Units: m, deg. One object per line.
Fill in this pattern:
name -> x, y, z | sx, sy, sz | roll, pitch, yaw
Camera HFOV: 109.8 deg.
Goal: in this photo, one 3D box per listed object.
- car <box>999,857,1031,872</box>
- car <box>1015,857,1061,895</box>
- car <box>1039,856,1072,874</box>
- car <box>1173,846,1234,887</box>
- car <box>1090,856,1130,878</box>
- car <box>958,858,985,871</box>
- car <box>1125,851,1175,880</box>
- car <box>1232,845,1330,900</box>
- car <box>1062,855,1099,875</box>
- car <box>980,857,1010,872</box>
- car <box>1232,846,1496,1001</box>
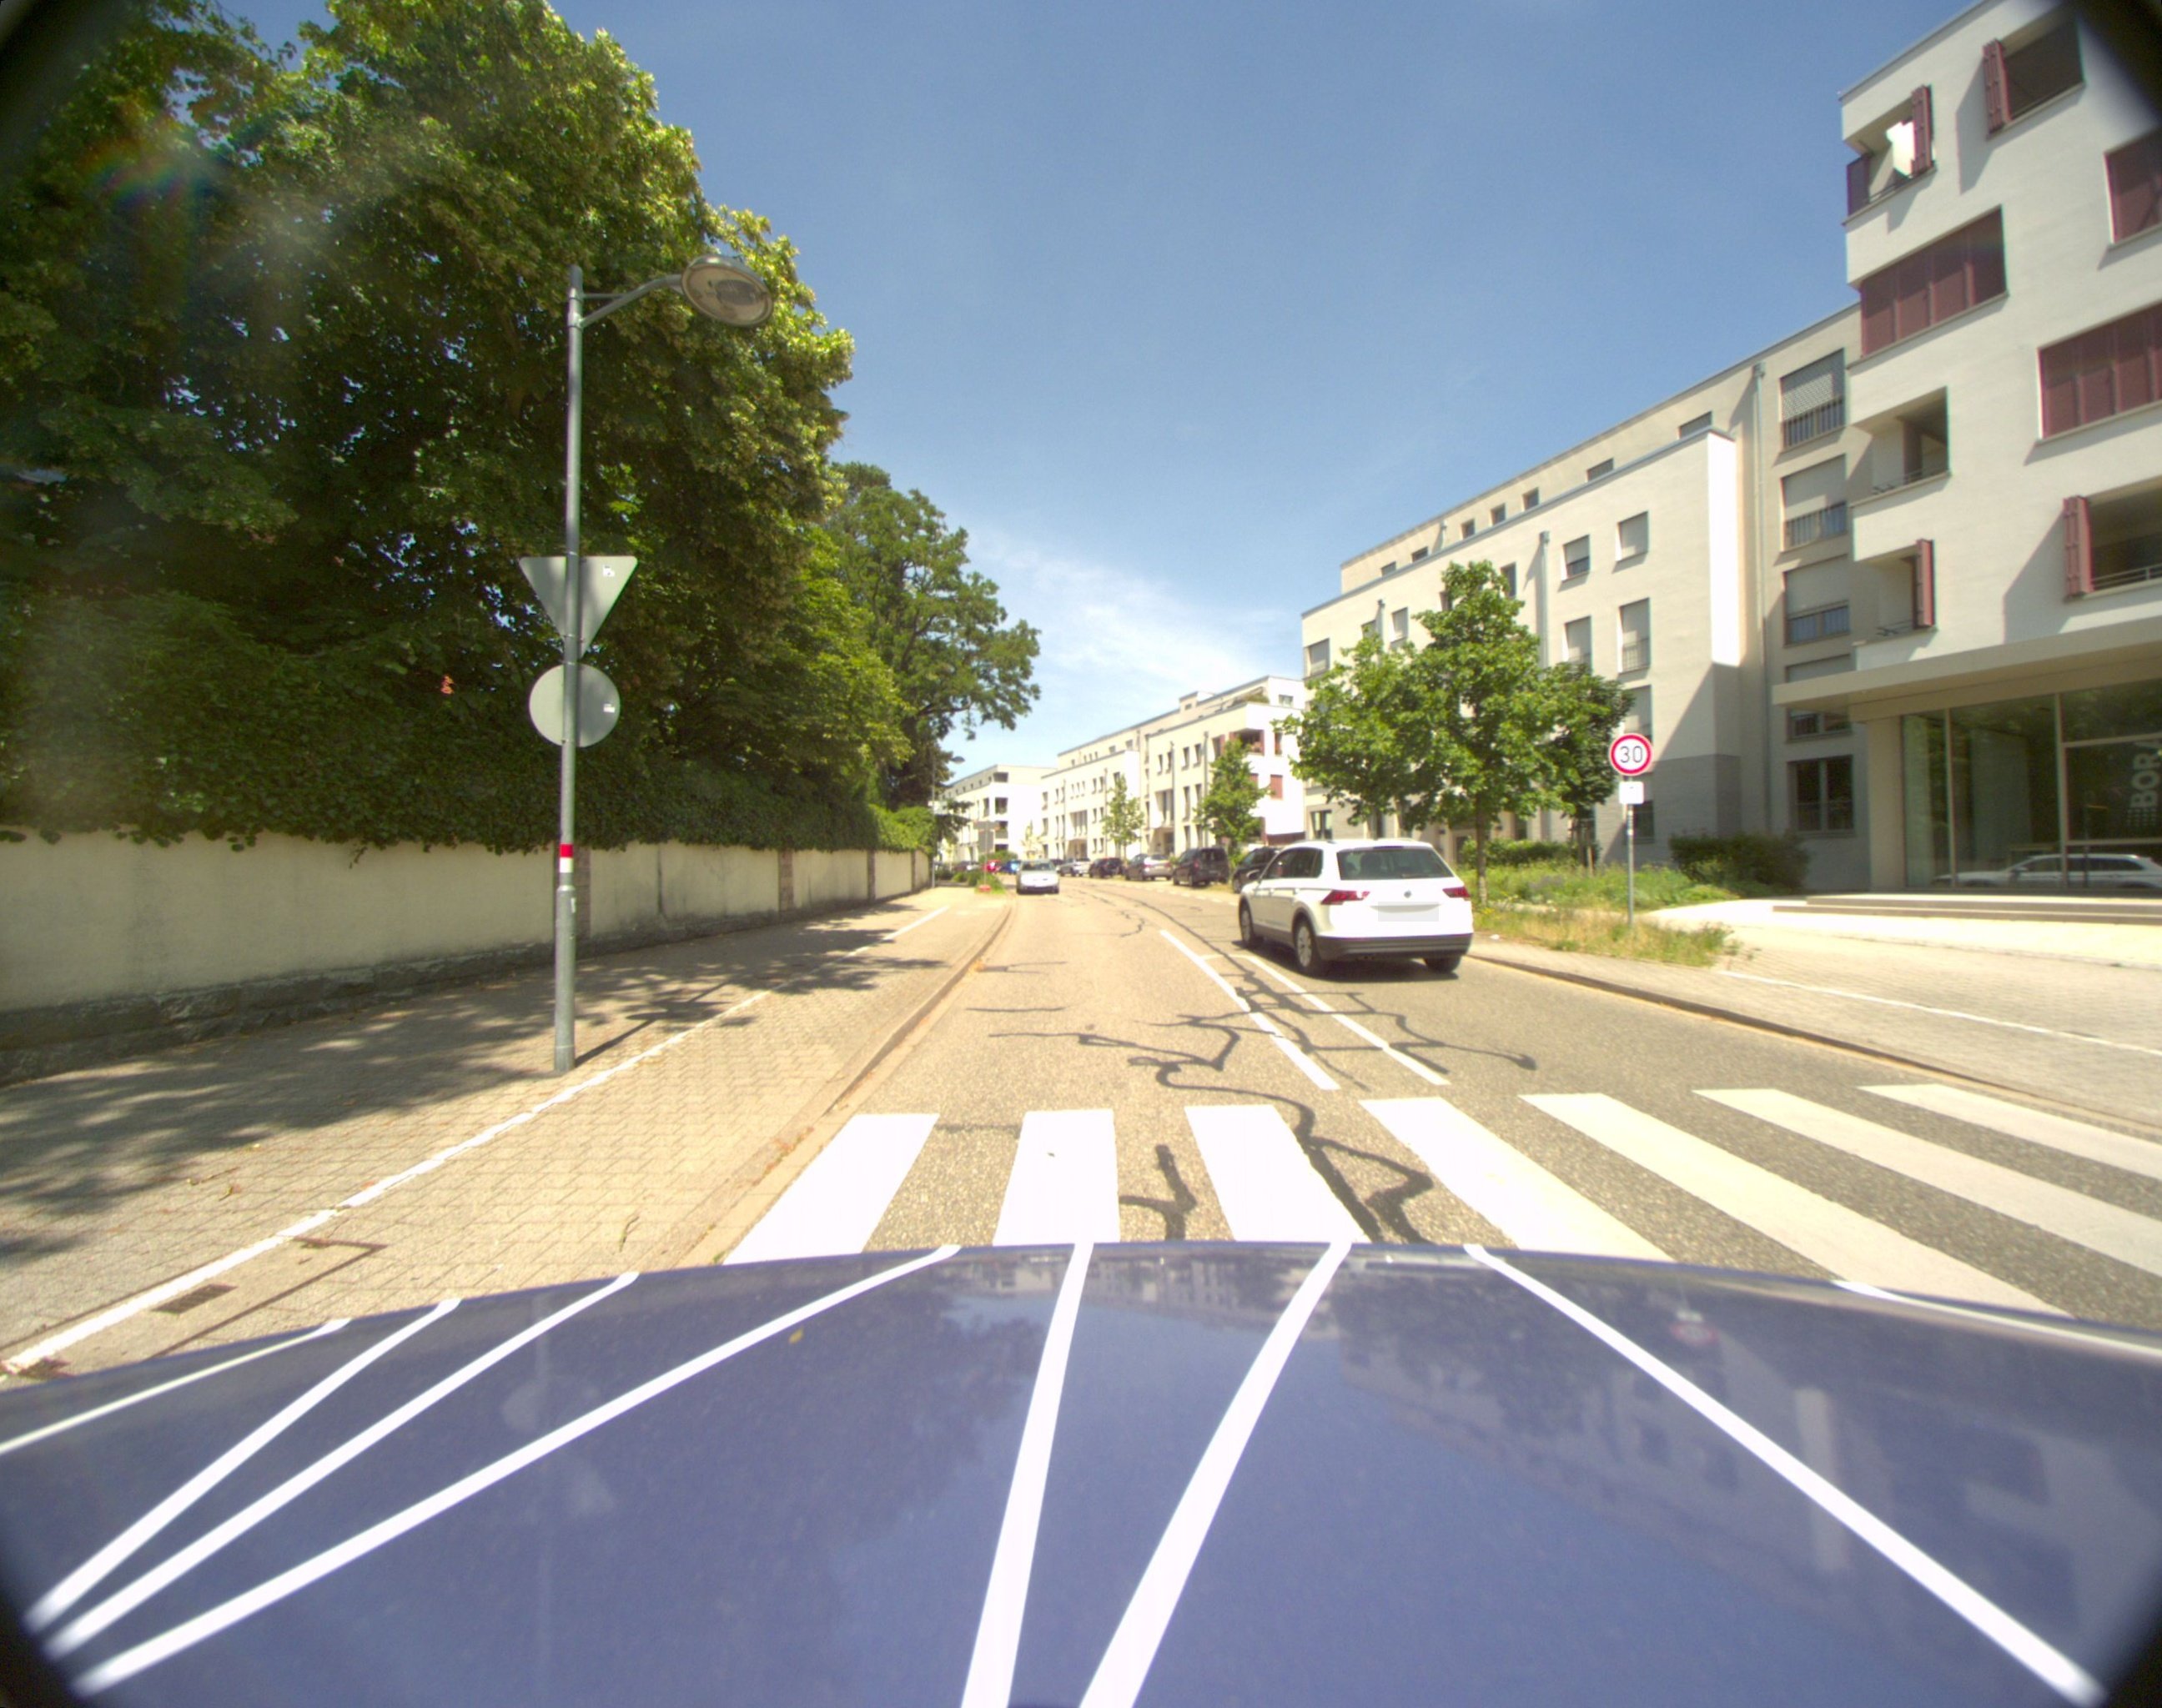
car -> -6.370, 1.005, 72.925 | 1.710, 1.405, 3.713 | -2, 0, -29
car -> -1.854, 0.886, 32.002 | 1.608, 1.443, 3.997 | -1, 0, -8
car -> -2.203, 0.914, 63.815 | 1.709, 1.405, 3.715 | -1, 0, -20
car -> 5.398, 0.532, 33.912 | 1.699, 1.690, 3.625 | -1, 0, -8
car -> 1.914, 0.825, 51.374 | 1.708, 1.405, 3.623 | -1, 0, -14
car -> -11.995, 1.127, 83.373 | 1.710, 1.405, 3.713 | -2, 0, -29
car -> 3.895, 0.631, 43.289 | 1.792, 1.580, 3.623 | -1, 0, -13
car -> 6.497, 0.552, 25.165 | 1.699, 1.628, 4.018 | -1, 0, -8
car -> -0.081, 0.834, 57.292 | 1.708, 1.405, 3.716 | -1, 0, -17
car -> -8.813, 1.065, 77.720 | 1.710, 1.405, 3.713 | -2, 0, -29
car -> 3.413, 0.723, 10.094 | 1.815, 1.599, 4.119 | -1, 0, -2
